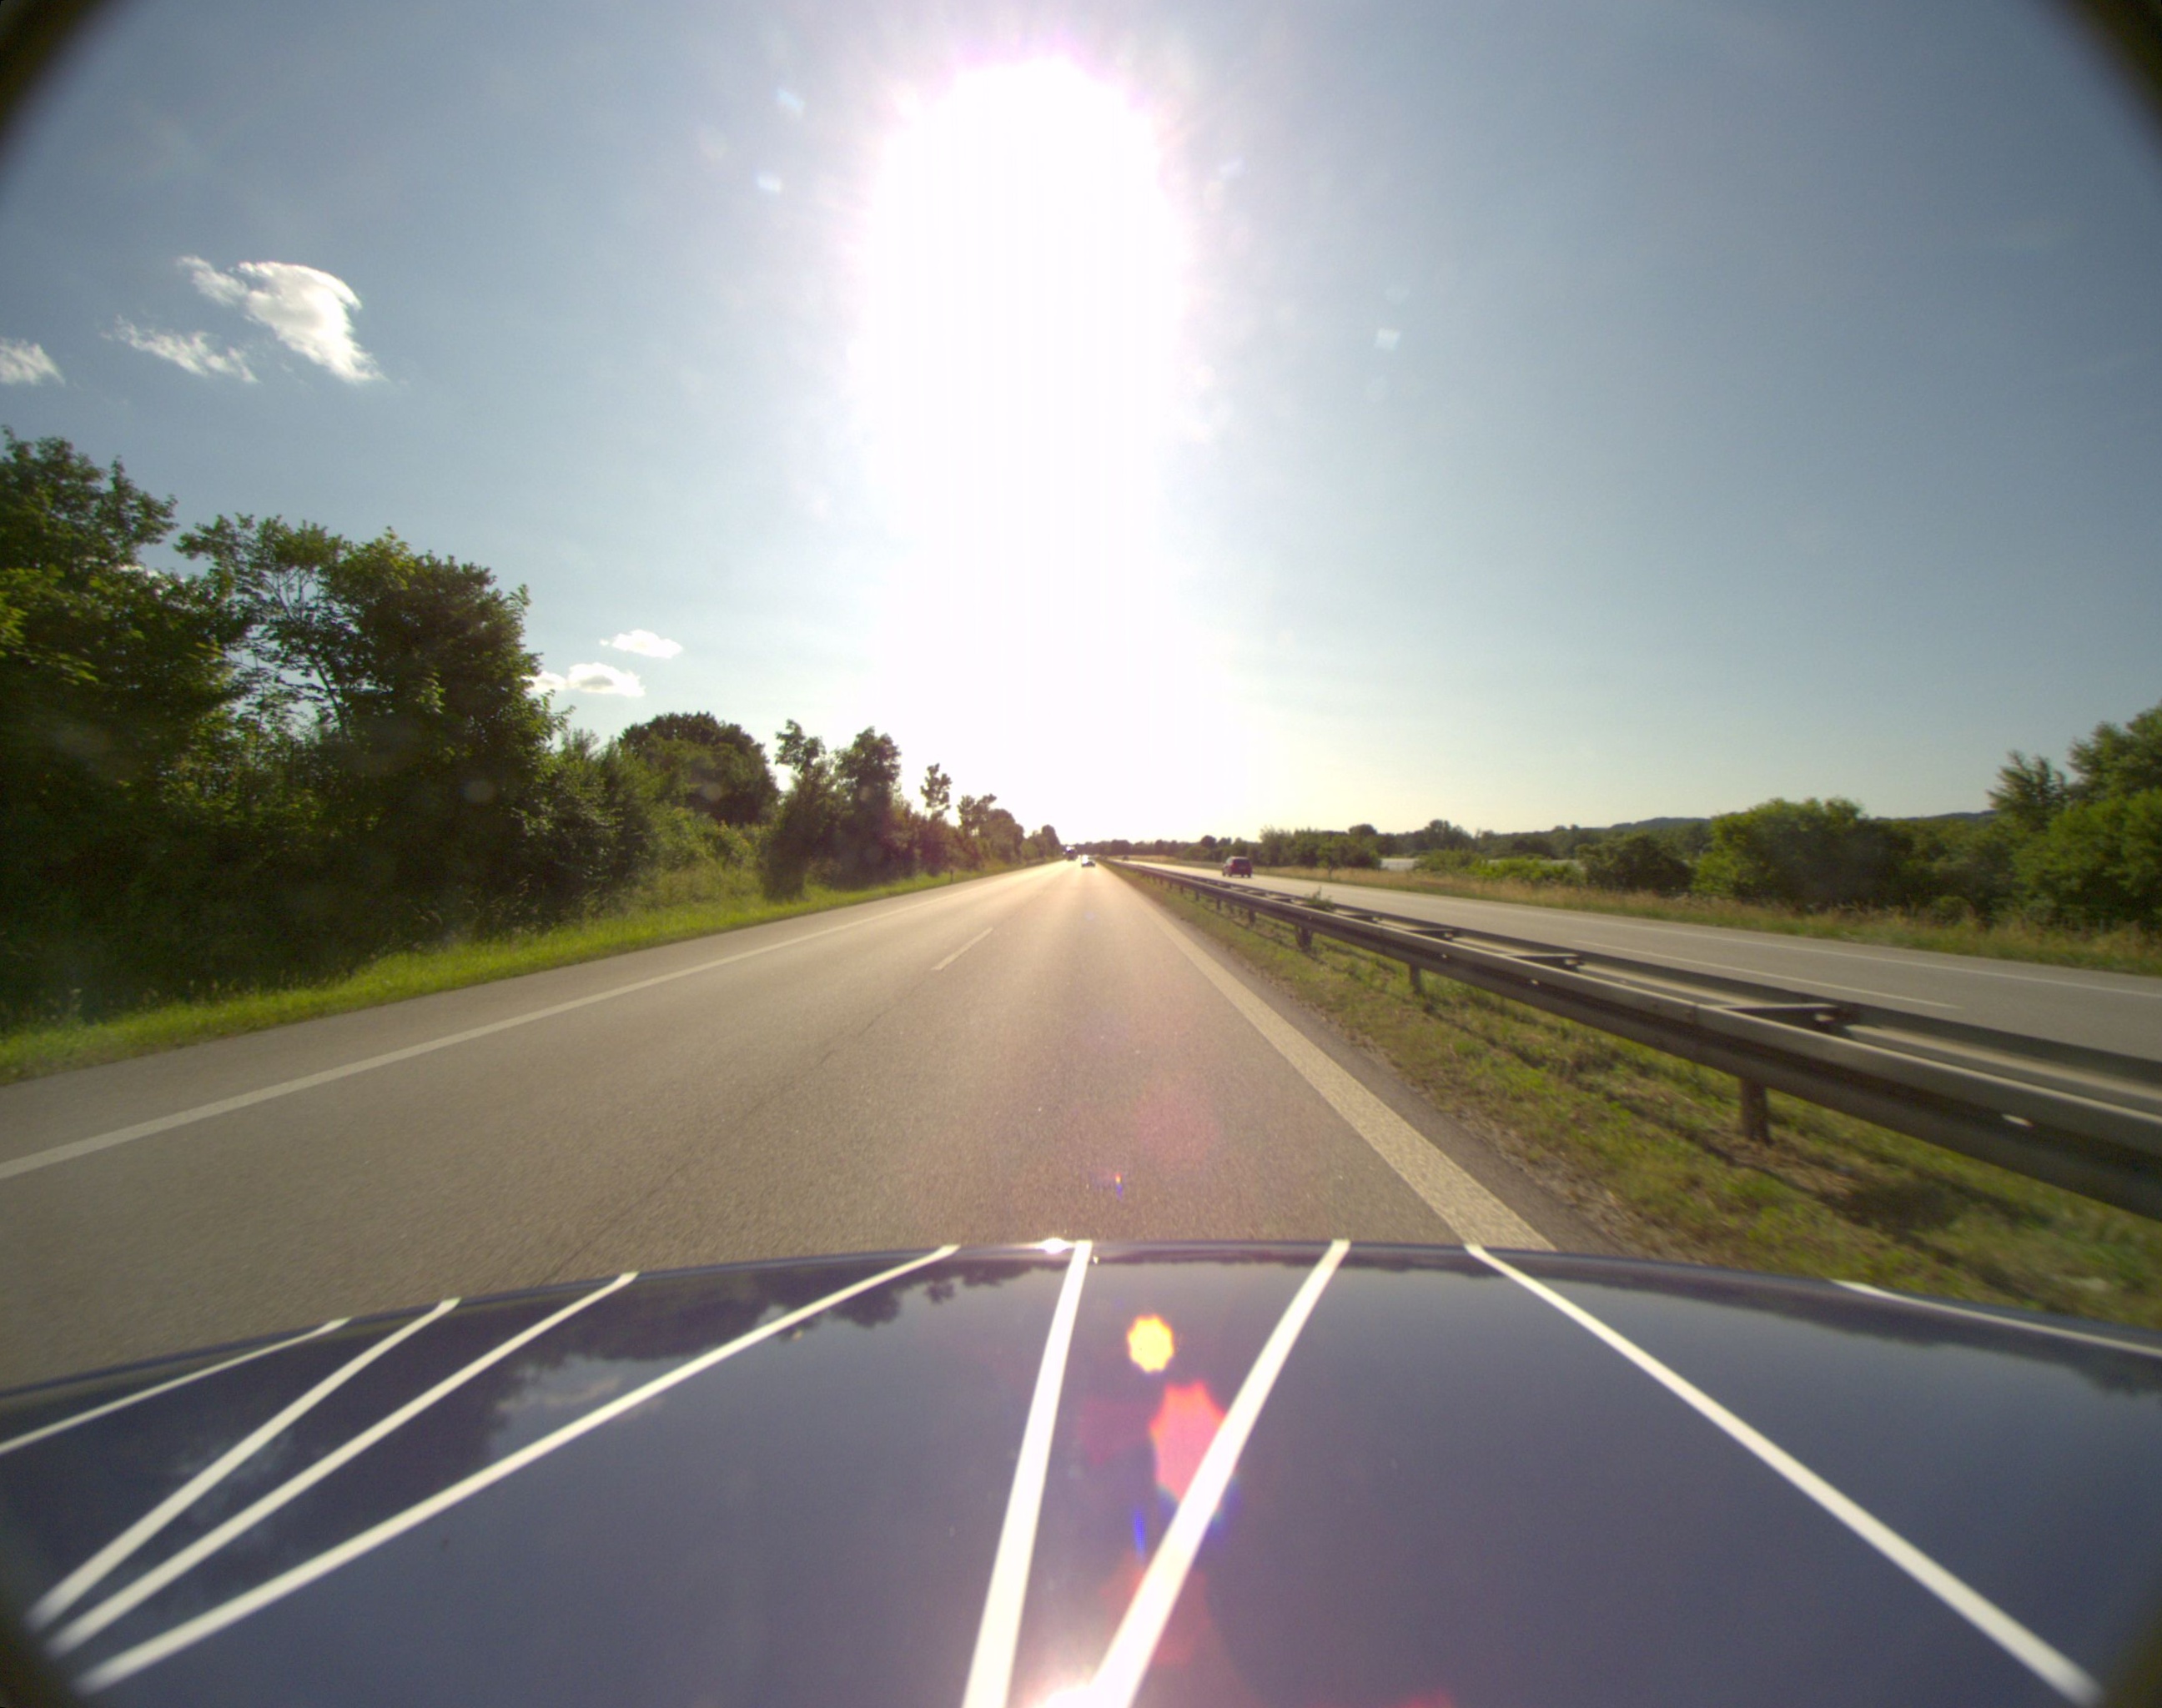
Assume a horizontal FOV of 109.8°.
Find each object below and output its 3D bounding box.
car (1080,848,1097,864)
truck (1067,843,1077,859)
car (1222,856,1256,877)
[{"bbox_3d":[0.993,0.205,99.018,1.998,2.002,4.358,-2,1,1],"label":"car"},{"bbox_3d":[-2.528,-0.901,221.482,2.759,4.242,8.492,-2,1,0],"label":"truck"},{"bbox_3d":[11.702,0.897,56.638,1.734,1.502,4.480,1,0,2],"label":"car"}]
